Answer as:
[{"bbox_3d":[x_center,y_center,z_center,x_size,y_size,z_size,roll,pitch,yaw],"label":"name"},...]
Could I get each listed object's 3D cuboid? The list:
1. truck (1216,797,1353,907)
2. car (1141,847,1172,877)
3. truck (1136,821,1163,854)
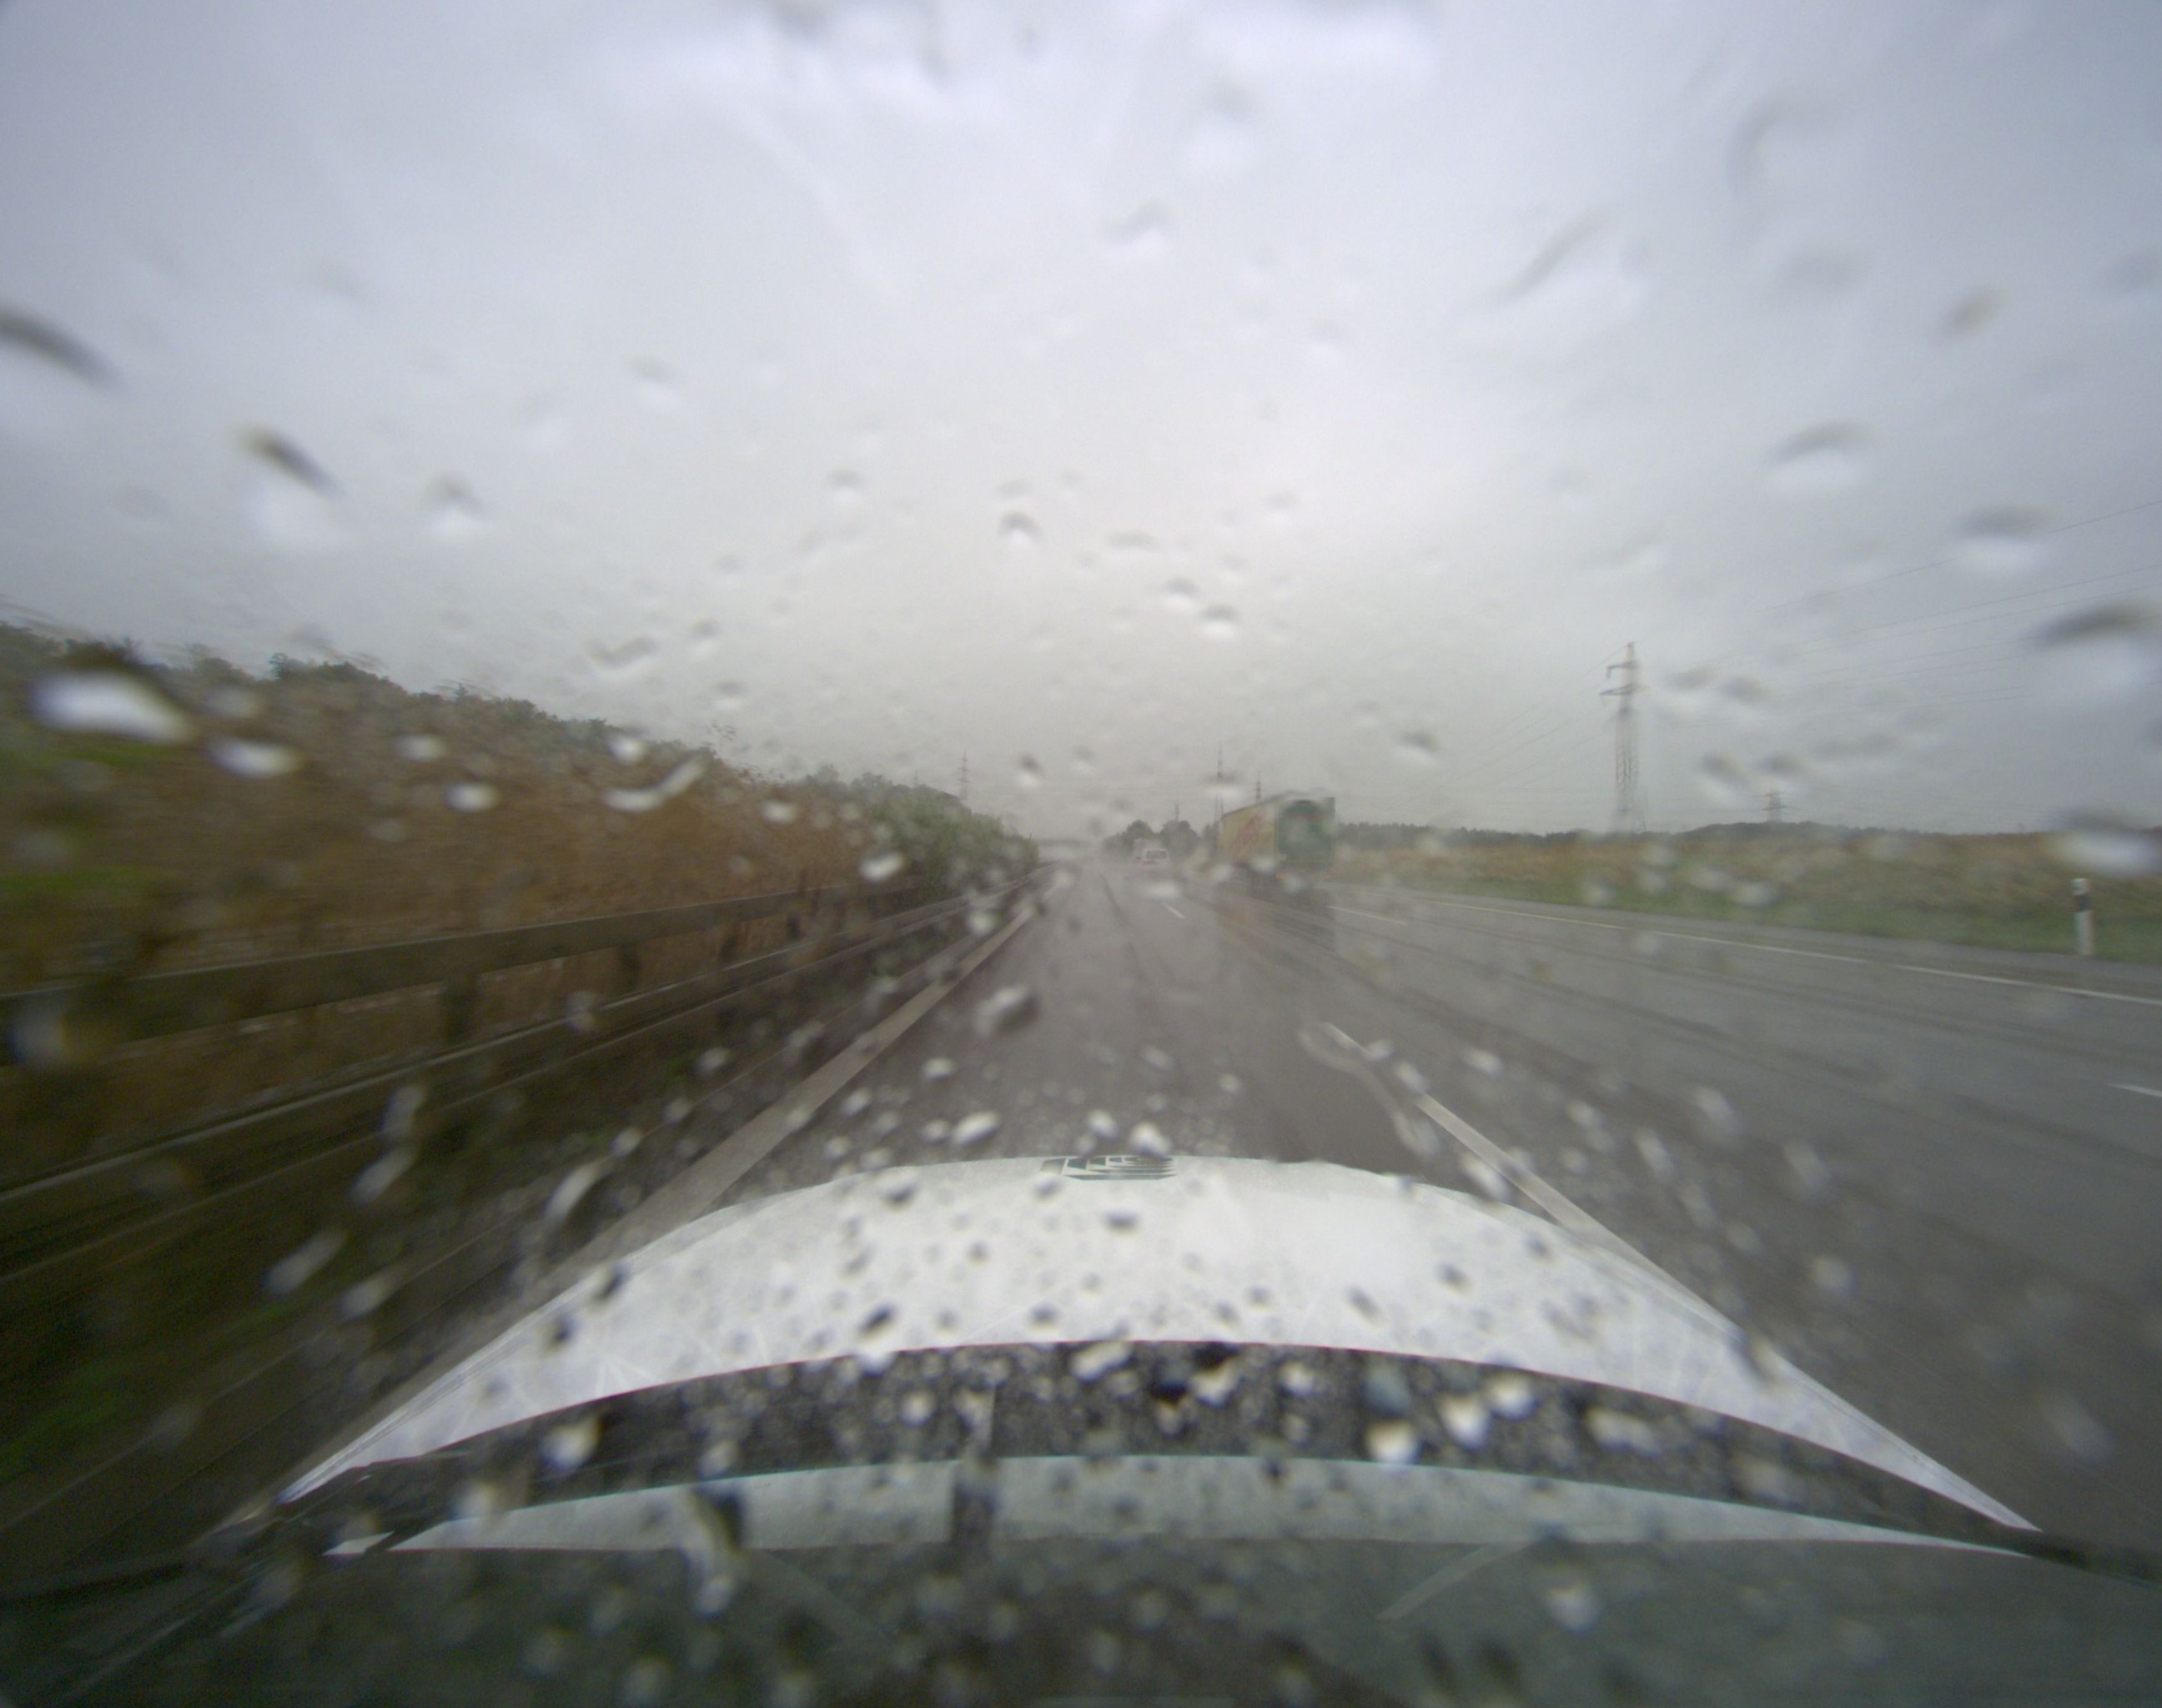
[{"bbox_3d":[9.958,-0.096,42.598,4.171,4.630,16.122,0,0,4],"label":"truck"},{"bbox_3d":[5.227,0.532,56.302,1.983,2.013,4.009,0,1,7],"label":"car"},{"bbox_3d":[9.277,-2.171,110.822,3.220,4.311,8.840,0,1,2],"label":"truck"}]
